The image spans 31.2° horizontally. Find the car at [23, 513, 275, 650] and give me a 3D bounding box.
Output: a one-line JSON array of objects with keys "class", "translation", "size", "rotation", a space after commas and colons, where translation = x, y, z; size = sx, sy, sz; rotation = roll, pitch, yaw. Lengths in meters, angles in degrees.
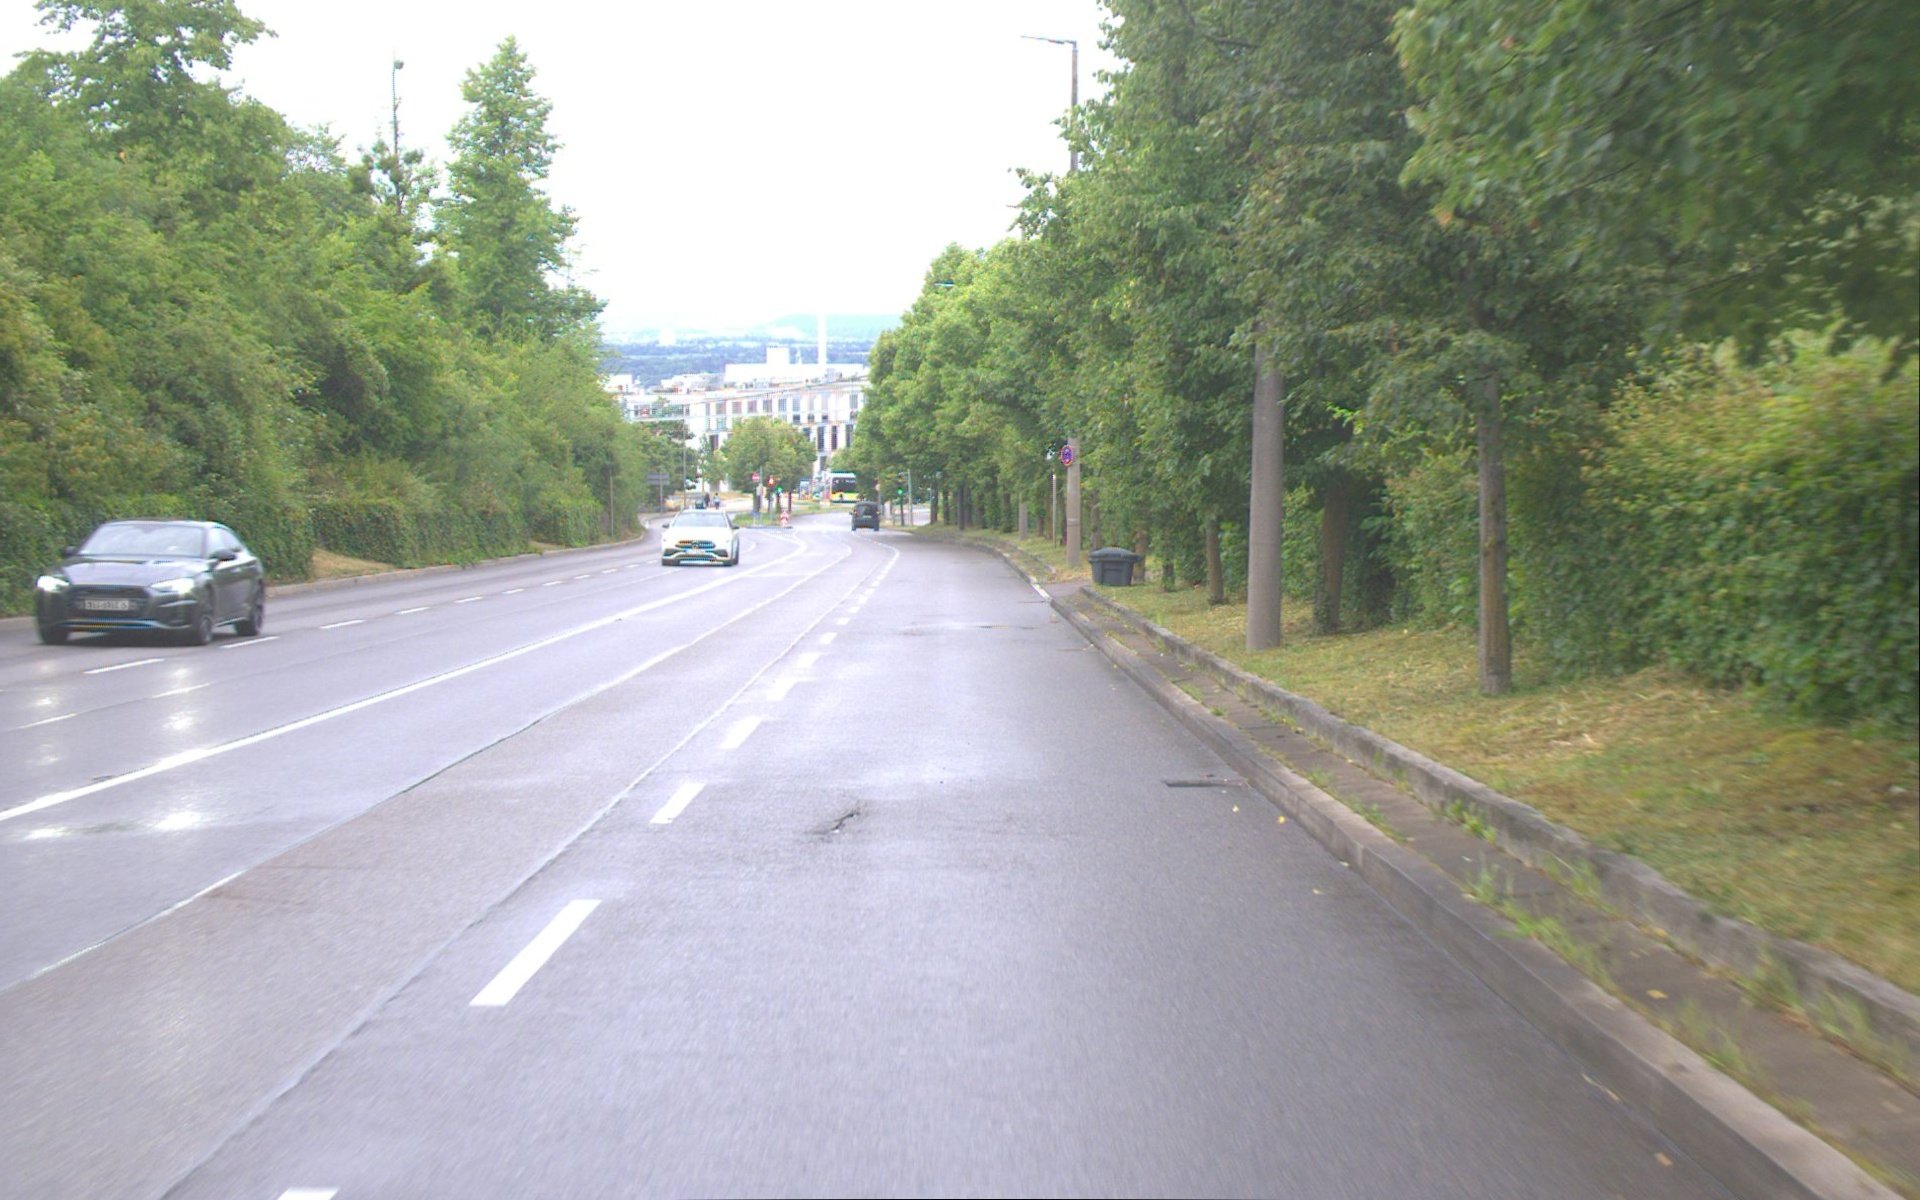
[{"class": "car", "translation": [-9.215, -0.259, 39.433], "size": [1.759, 1.376, 4.838], "rotation": [2, 2, 0]}]

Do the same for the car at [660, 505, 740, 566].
[{"class": "car", "translation": [-6.830, -1.725, 90.650], "size": [1.715, 1.500, 4.517], "rotation": [2, 2, 0]}]

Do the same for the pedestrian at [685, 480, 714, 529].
[{"class": "pedestrian", "translation": [-8.207, -2.999, 108.368], "size": [0.805, 1.536, 1.111], "rotation": [1, 1, 0]}]

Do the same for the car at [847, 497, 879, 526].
[{"class": "car", "translation": [-6.078, -5.512, 214.951], "size": [1.849, 1.696, 3.793], "rotation": [2, 0, -3]}]
